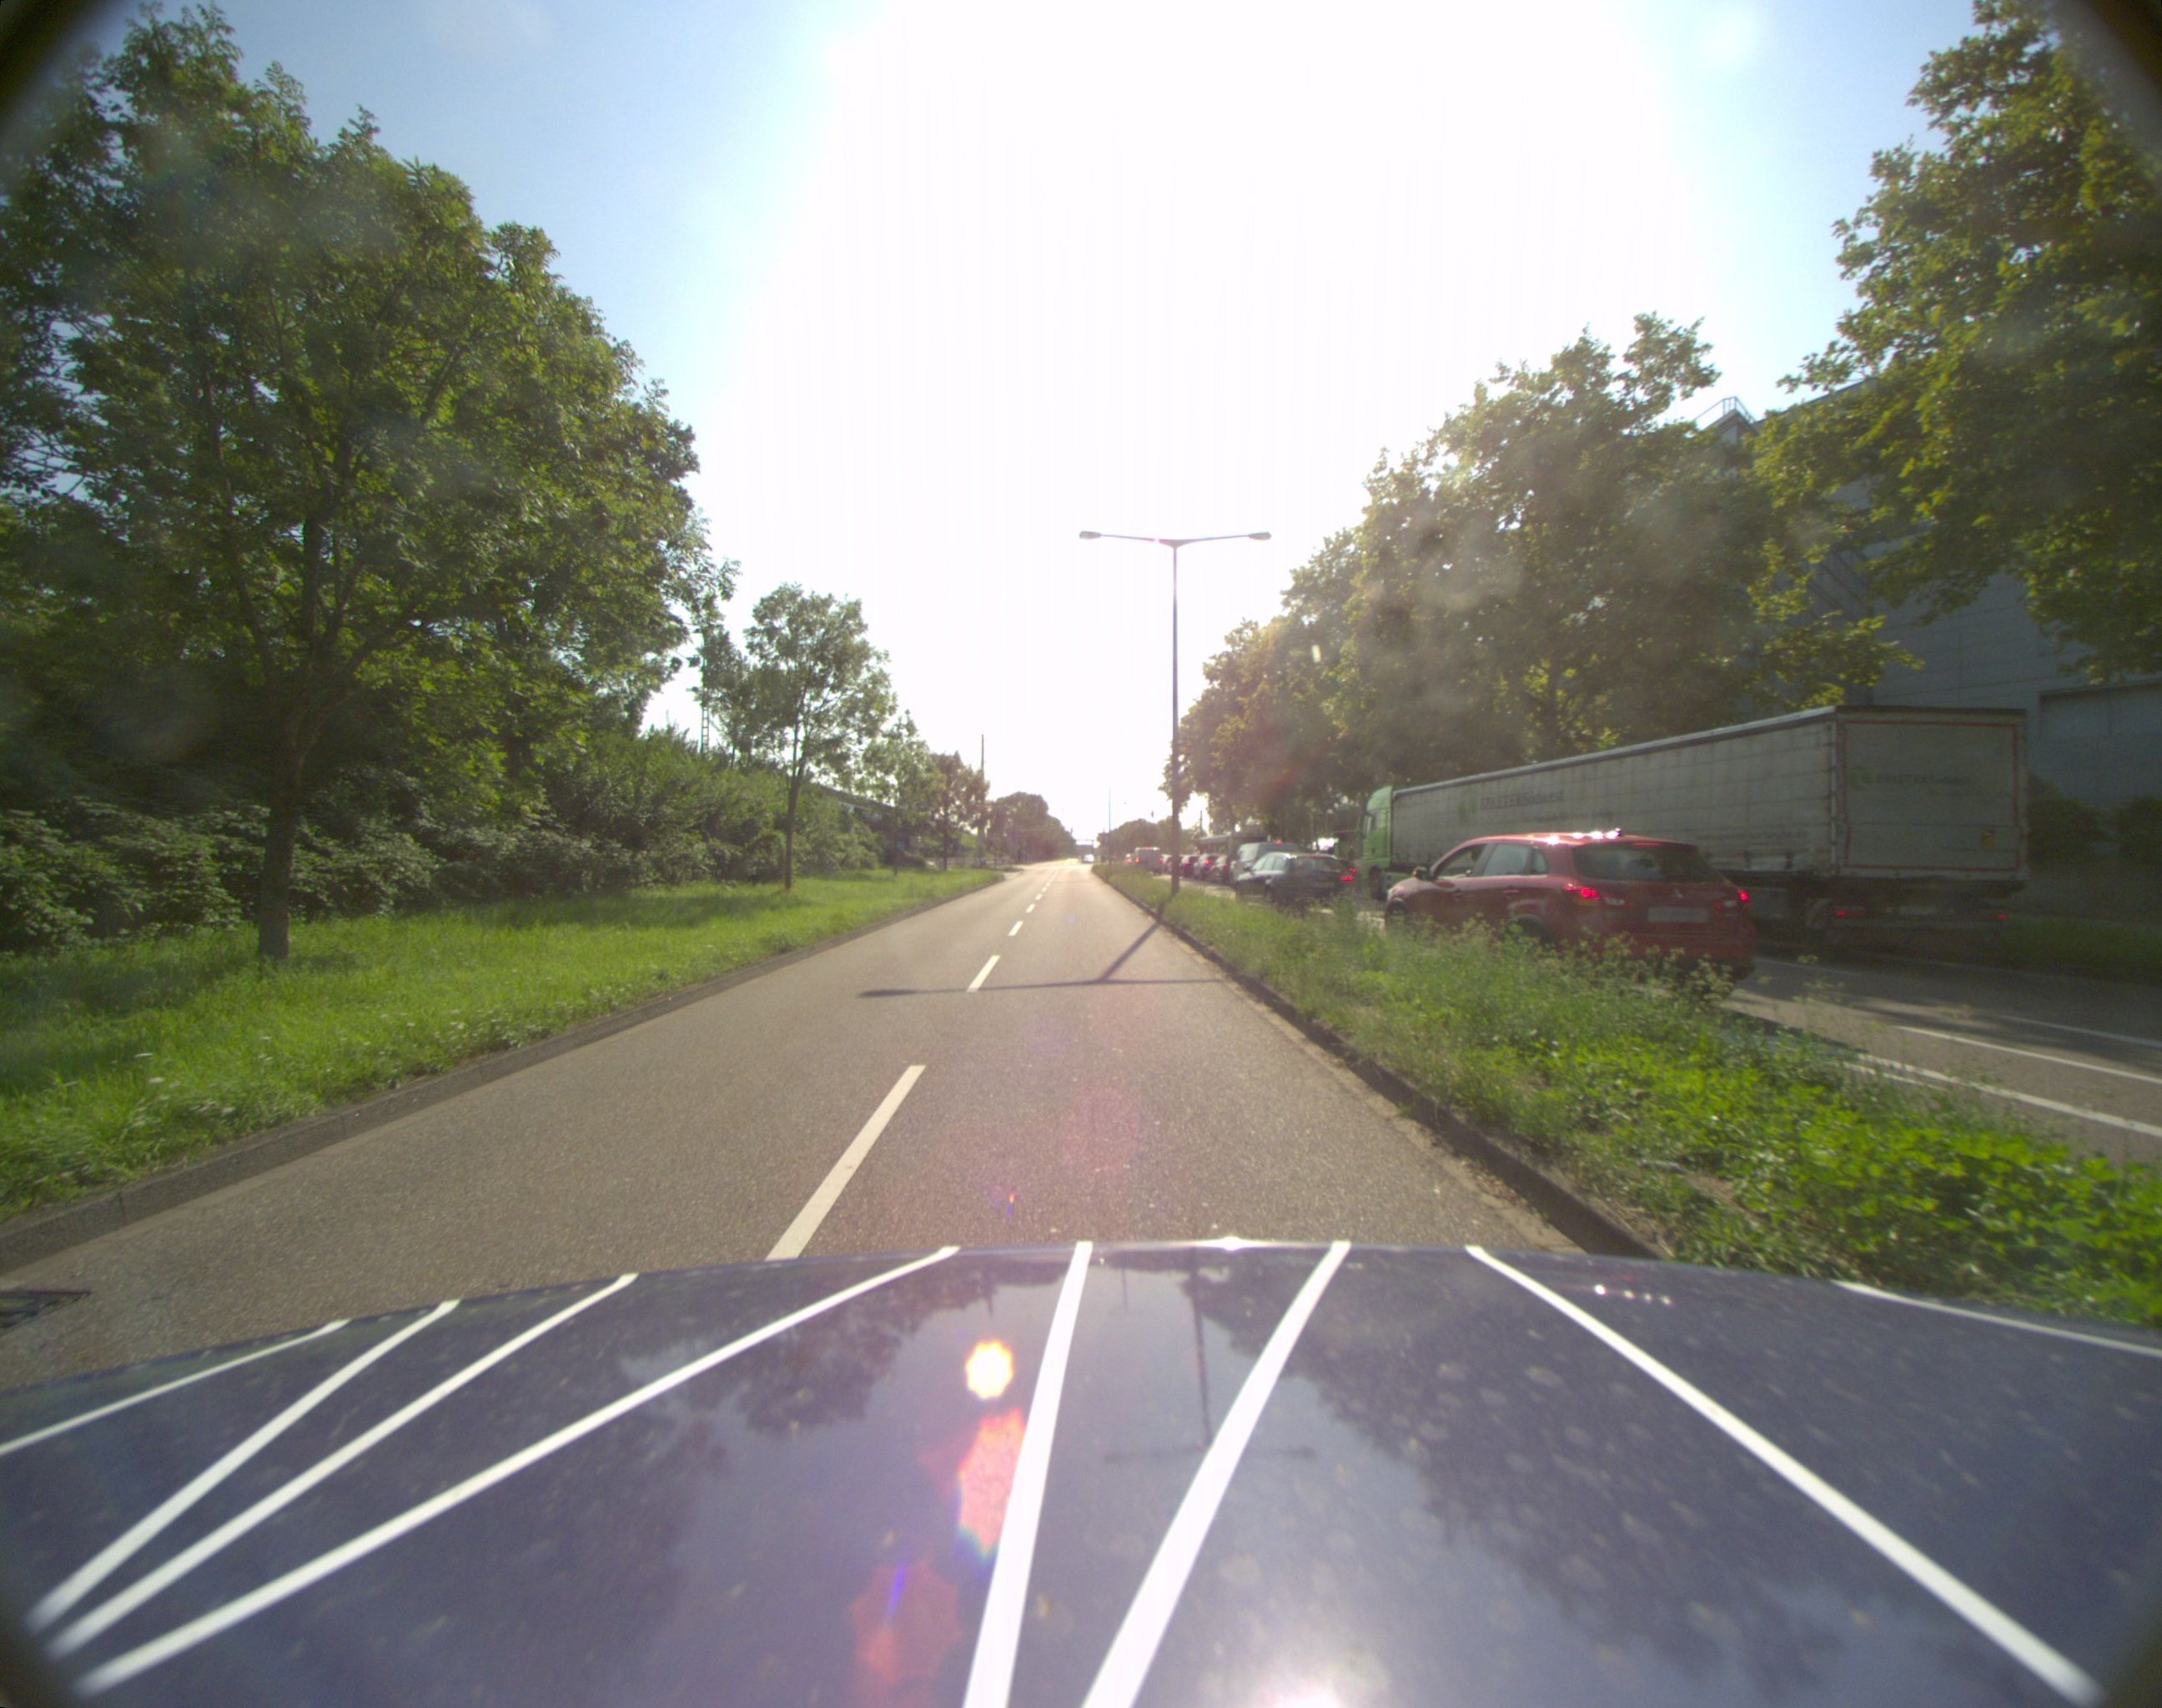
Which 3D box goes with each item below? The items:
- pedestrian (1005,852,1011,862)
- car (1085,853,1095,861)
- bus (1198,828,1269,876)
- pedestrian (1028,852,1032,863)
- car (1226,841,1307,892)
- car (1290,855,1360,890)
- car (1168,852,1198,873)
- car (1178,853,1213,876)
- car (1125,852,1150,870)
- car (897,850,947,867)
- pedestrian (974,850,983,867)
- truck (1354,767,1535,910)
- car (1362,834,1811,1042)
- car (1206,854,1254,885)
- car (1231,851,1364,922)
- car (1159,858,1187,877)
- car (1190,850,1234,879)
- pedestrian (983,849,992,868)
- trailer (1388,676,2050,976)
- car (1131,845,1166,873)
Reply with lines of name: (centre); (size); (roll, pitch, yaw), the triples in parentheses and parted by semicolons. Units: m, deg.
pedestrian: (-10.720, 0.459, 111.861); (0.636, 1.565, 0.489); (-2, 1, -43)
car: (1.572, 0.528, 132.729); (1.544, 1.433, 3.396); (0, -1, 3)
bus: (10.725, -0.169, 54.903); (2.597, 3.061, 12.310); (-1, 0, 0)
pedestrian: (-7.905, 0.611, 118.145); (0.587, 1.715, 0.647); (0, 1, -5)
car: (7.556, 0.452, 31.514); (1.999, 1.942, 5.035); (0, 0, -1)
car: (10.994, 0.780, 34.613); (1.651, 1.403, 4.479); (1, 0, -1)
car: (7.684, 0.641, 57.618); (1.711, 1.458, 3.821); (1, -1, -1)
car: (7.612, 0.649, 50.691); (1.651, 1.425, 4.189); (1, 1, 0)
car: (4.571, 0.573, 61.989); (1.714, 1.394, 4.083); (1, 0, -1)
car: (-14.503, 0.393, 69.273); (4.183, 1.524, 1.874); (1, 1, 26)
pedestrian: (-9.321, 0.396, 68.985); (0.573, 1.558, 0.535); (-2, 2, -42)
truck: (10.884, -0.428, 23.495); (2.614, 3.797, 5.890); (1, 1, -1)
car: (5.028, 0.680, 8.569); (1.959, 1.714, 4.586); (0, 0, -1)
car: (7.331, 0.718, 37.780); (1.618, 1.390, 3.857); (1, 1, 0)
car: (5.120, 0.693, 18.662); (1.751, 1.471, 4.585); (2, 0, -3)
car: (7.548, 1.085, 62.749); (1.711, 1.433, 3.999); (1, 0, -1)
car: (7.521, 0.556, 43.932); (1.699, 1.520, 4.139); (1, 0, -1)
pedestrian: (-8.513, 0.388, 68.962); (0.570, 1.672, 0.493); (0, 1, 31)
trailer: (11.005, -0.393, 16.690); (2.640, 3.799, 13.809); (1, 0, -1)
car: (4.753, 0.341, 54.219); (1.916, 1.853, 4.889); (1, 0, -1)
